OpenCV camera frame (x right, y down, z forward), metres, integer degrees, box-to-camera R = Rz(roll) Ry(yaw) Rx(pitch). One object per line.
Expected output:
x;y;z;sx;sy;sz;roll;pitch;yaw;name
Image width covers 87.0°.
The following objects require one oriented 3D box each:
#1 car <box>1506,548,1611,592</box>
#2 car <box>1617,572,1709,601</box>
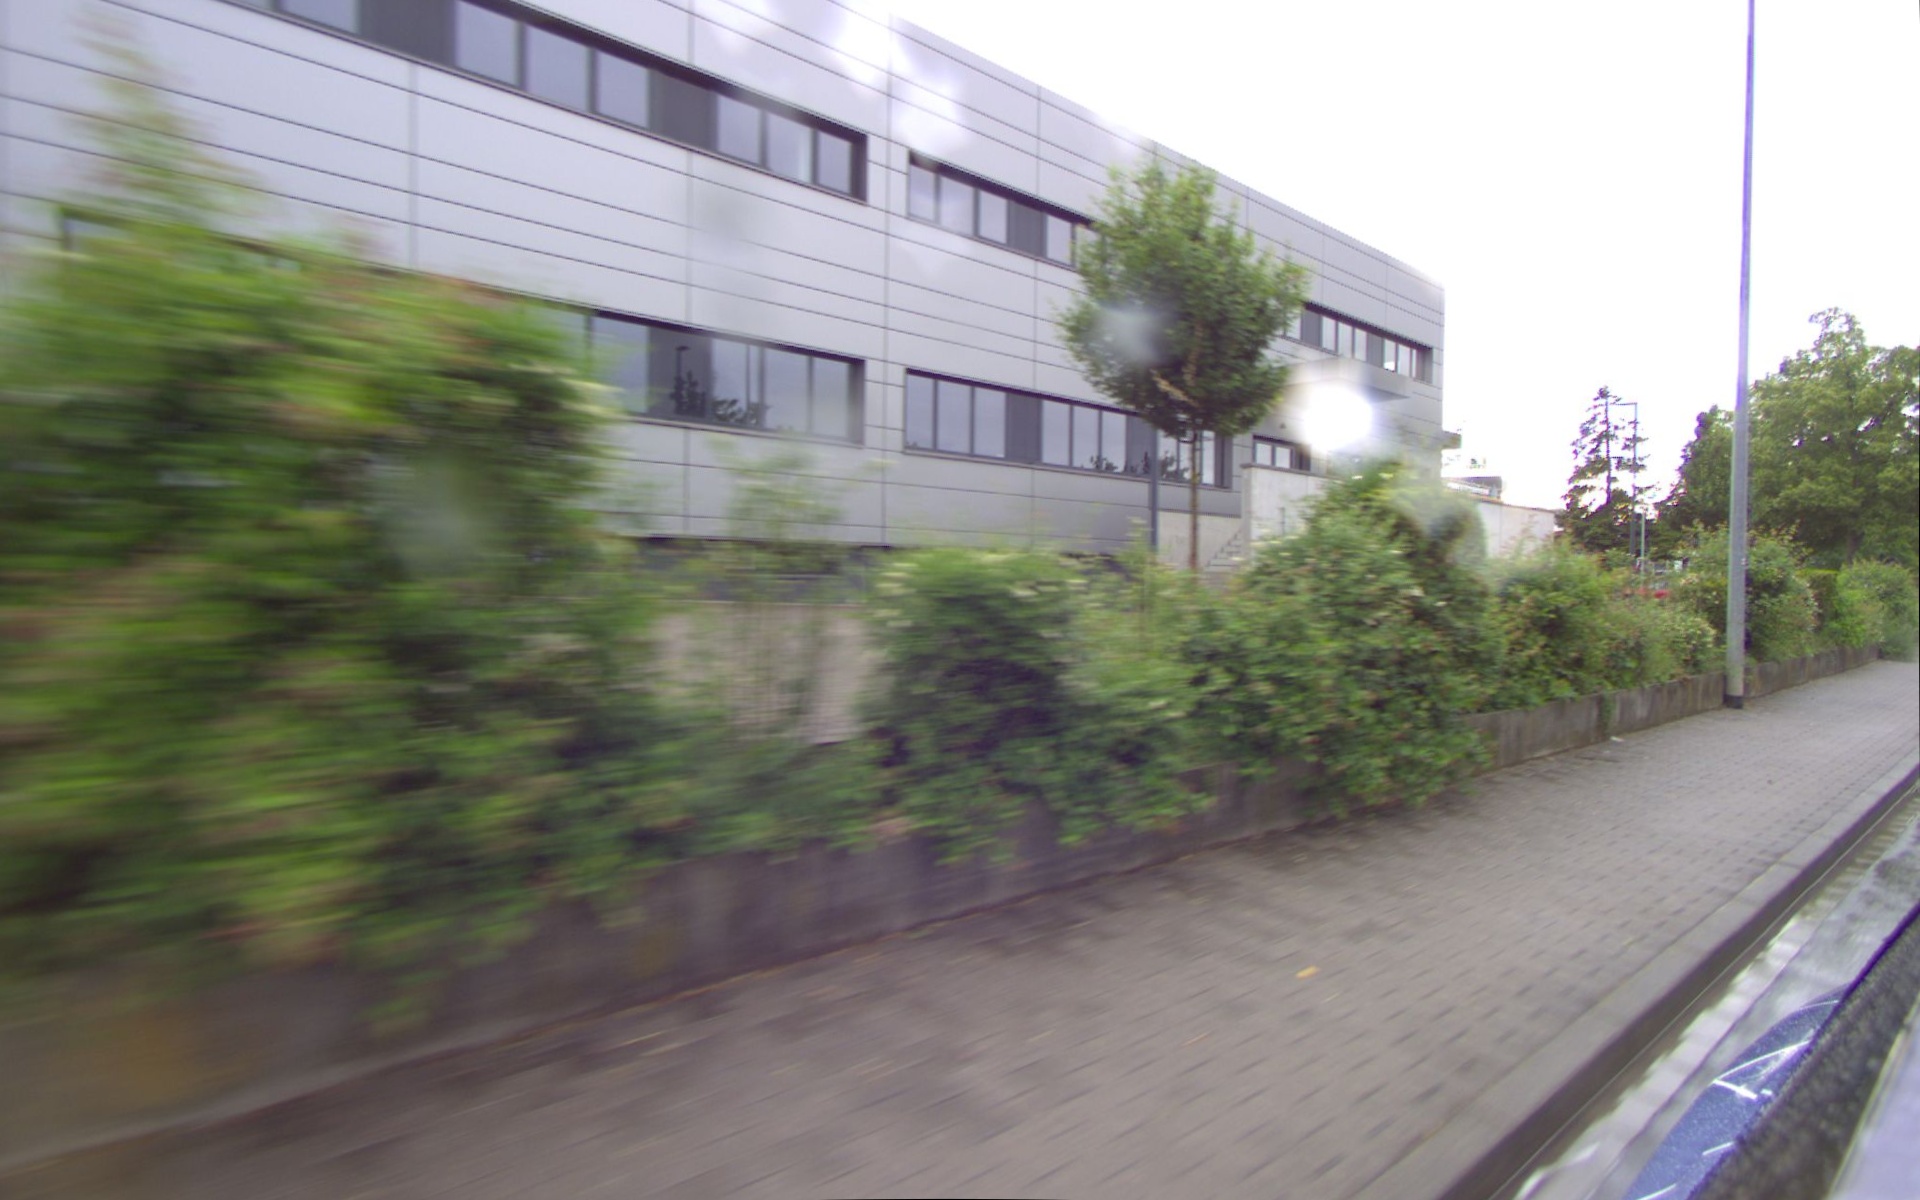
35.337;-1.800;59.887;1.962;2.468;4.919;1;1;-35;car
38.691;-0.754;55.761;1.738;1.517;3.886;1;1;-43;car
